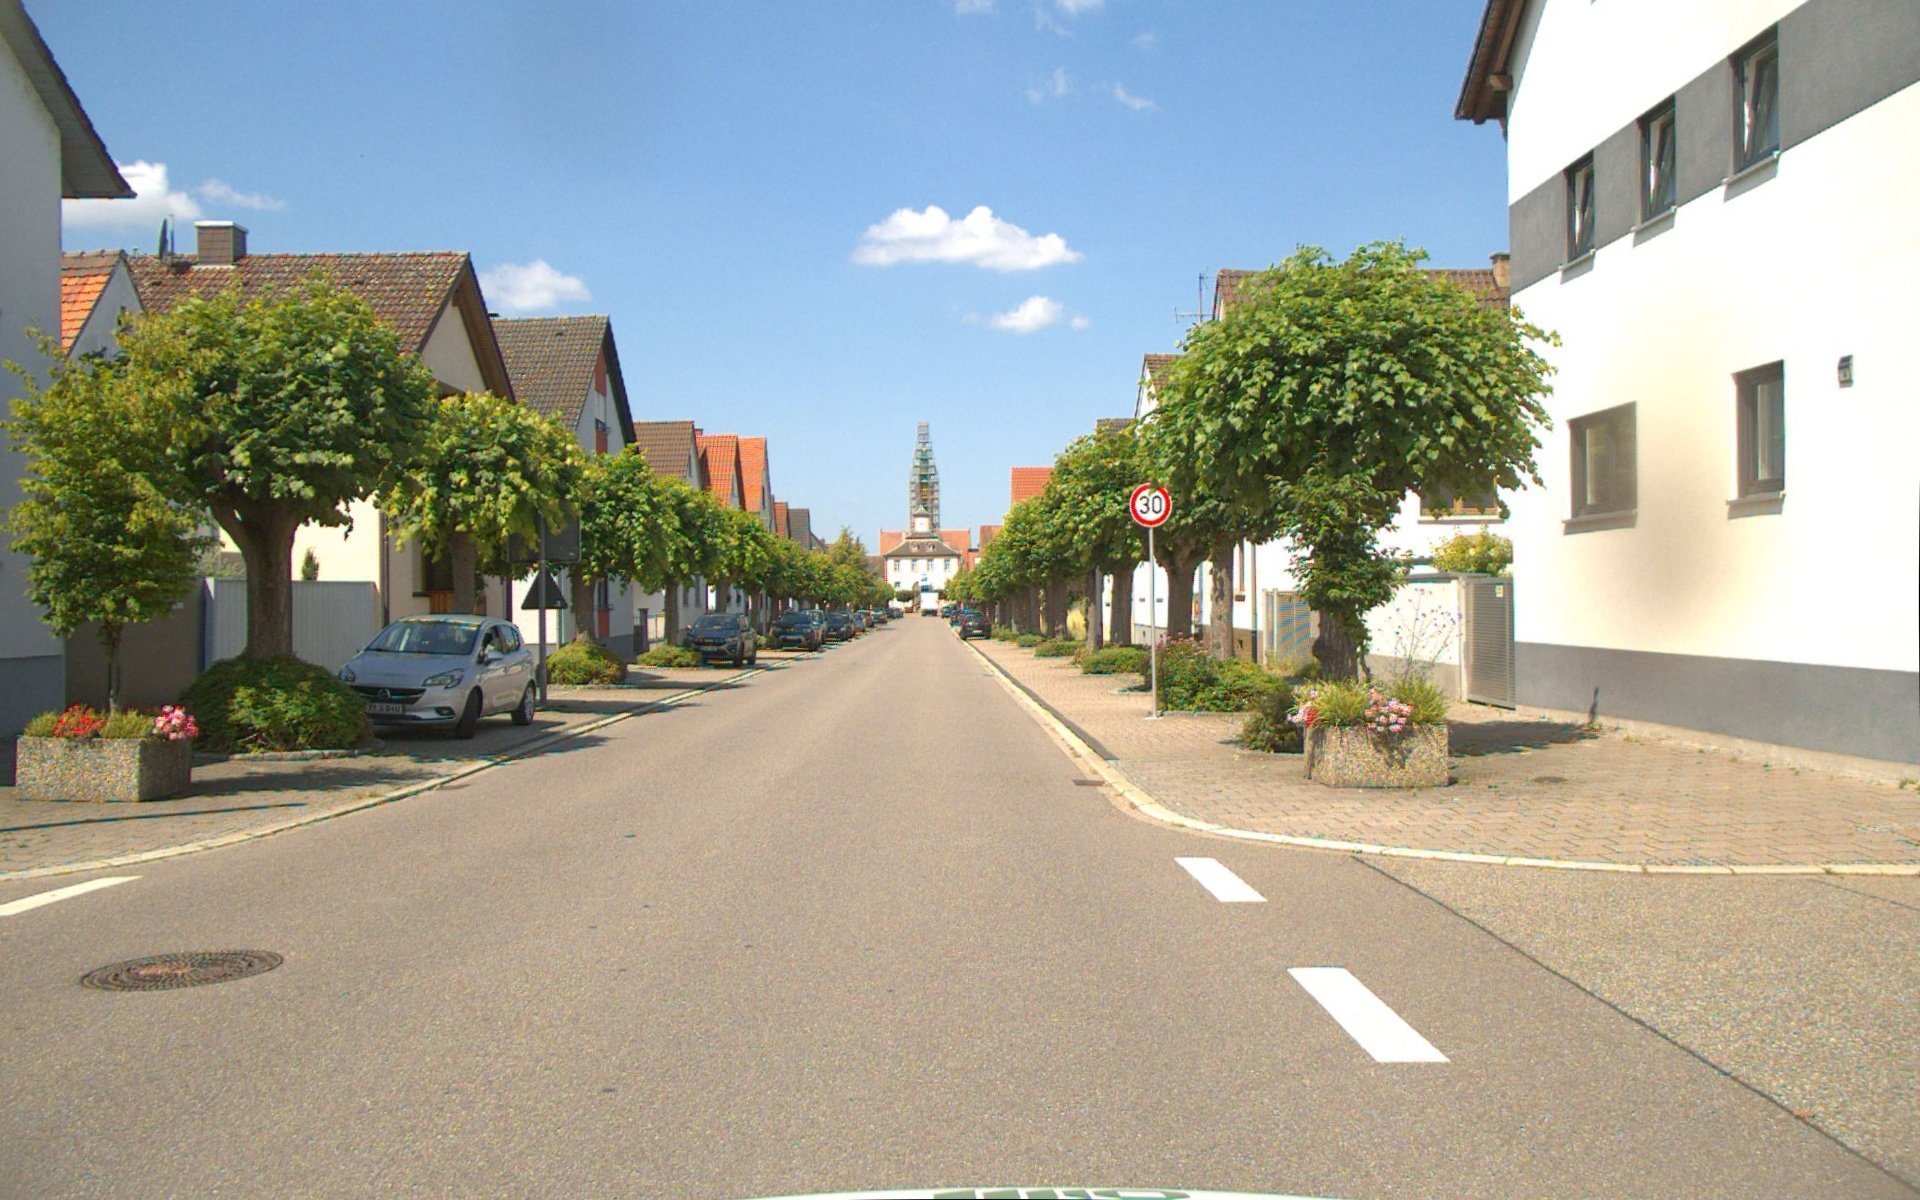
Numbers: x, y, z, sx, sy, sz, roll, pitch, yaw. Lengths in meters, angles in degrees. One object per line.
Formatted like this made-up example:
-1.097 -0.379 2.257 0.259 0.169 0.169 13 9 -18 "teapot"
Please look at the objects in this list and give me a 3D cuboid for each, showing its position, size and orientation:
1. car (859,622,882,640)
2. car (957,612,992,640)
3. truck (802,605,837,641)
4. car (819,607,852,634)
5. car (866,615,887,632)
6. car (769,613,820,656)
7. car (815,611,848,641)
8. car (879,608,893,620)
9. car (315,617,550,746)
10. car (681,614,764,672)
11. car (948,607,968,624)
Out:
-8.493 2.936 156.863 1.953 1.639 4.688 0 0 0 "car"
0.822 1.475 95.495 1.787 1.457 4.056 -4 0 -1 "car"
-7.292 1.184 86.228 1.544 1.796 4.191 1 -1 -1 "truck"
-7.714 1.267 102.747 1.815 1.664 4.055 0 -1 -1 "car"
-9.036 2.554 178.869 1.953 1.639 4.689 1 0 0 "car"
-6.943 1.428 69.743 1.815 1.665 4.298 1 0 -1 "car"
-7.366 1.495 94.839 1.751 1.662 3.994 0 0 -7 "car"
-9.952 1.861 221.806 1.722 1.582 4.019 -2 0 -1 "car"
-6.771 0.990 21.693 1.787 1.509 4.131 0 -1 -1 "car"
-7.077 1.256 49.587 1.815 1.641 4.135 0 0 1 "car"
-0.199 1.508 165.031 1.800 1.582 4.312 -3 0 -2 "car"
